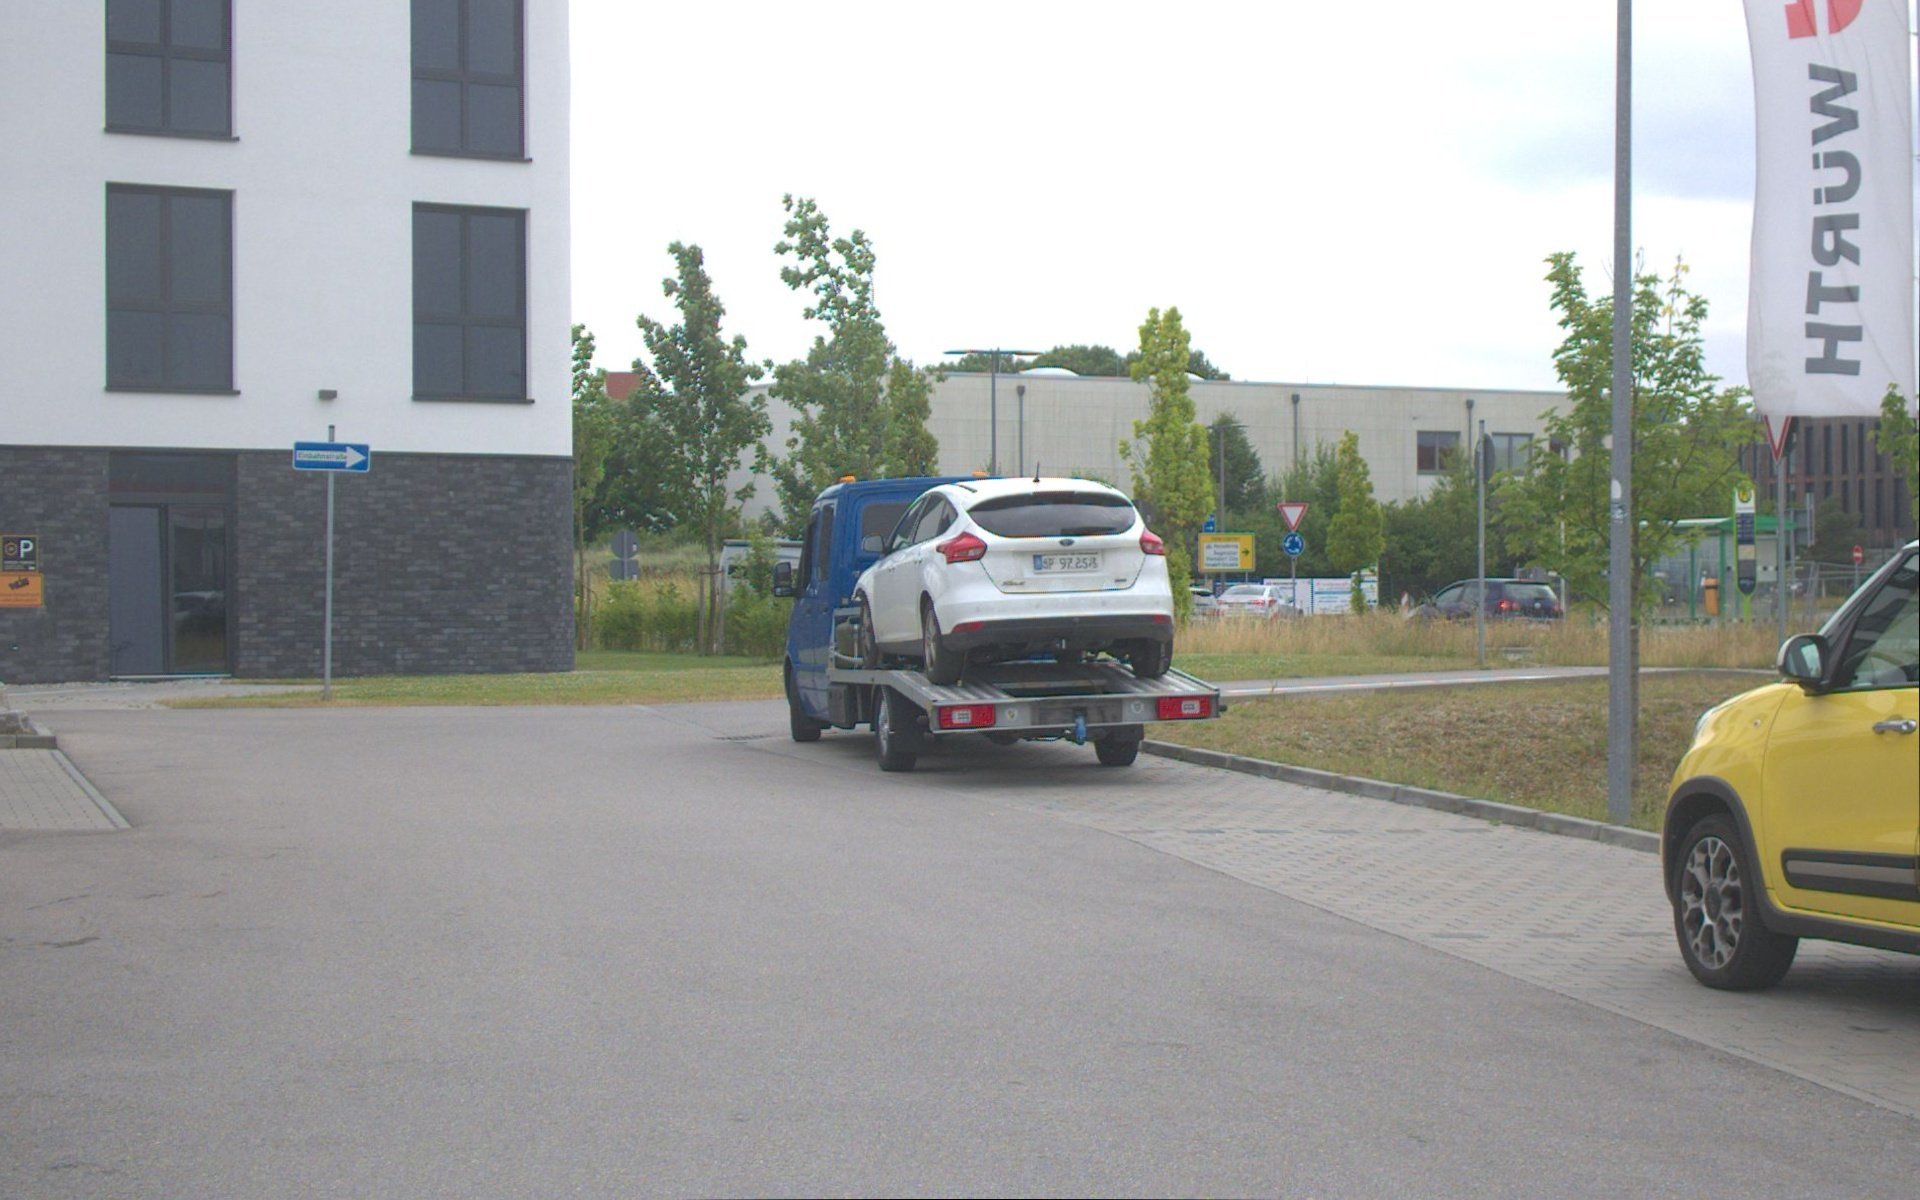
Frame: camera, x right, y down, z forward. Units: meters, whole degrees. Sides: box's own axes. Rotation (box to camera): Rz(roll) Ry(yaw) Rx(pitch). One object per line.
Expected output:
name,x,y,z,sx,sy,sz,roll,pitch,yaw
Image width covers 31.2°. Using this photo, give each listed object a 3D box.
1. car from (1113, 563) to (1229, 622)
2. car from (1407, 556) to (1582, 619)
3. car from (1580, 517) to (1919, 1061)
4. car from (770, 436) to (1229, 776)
car,5.194,-0.204,84.944,1.564,1.415,3.495,0,1,-21
car,10.781,-0.264,69.600,1.714,1.220,4.001,0,1,-21
car,3.735,0.588,11.146,1.747,1.677,4.300,1,1,-14
car,0.071,0.029,27.486,2.193,2.315,7.859,0,0,-10
